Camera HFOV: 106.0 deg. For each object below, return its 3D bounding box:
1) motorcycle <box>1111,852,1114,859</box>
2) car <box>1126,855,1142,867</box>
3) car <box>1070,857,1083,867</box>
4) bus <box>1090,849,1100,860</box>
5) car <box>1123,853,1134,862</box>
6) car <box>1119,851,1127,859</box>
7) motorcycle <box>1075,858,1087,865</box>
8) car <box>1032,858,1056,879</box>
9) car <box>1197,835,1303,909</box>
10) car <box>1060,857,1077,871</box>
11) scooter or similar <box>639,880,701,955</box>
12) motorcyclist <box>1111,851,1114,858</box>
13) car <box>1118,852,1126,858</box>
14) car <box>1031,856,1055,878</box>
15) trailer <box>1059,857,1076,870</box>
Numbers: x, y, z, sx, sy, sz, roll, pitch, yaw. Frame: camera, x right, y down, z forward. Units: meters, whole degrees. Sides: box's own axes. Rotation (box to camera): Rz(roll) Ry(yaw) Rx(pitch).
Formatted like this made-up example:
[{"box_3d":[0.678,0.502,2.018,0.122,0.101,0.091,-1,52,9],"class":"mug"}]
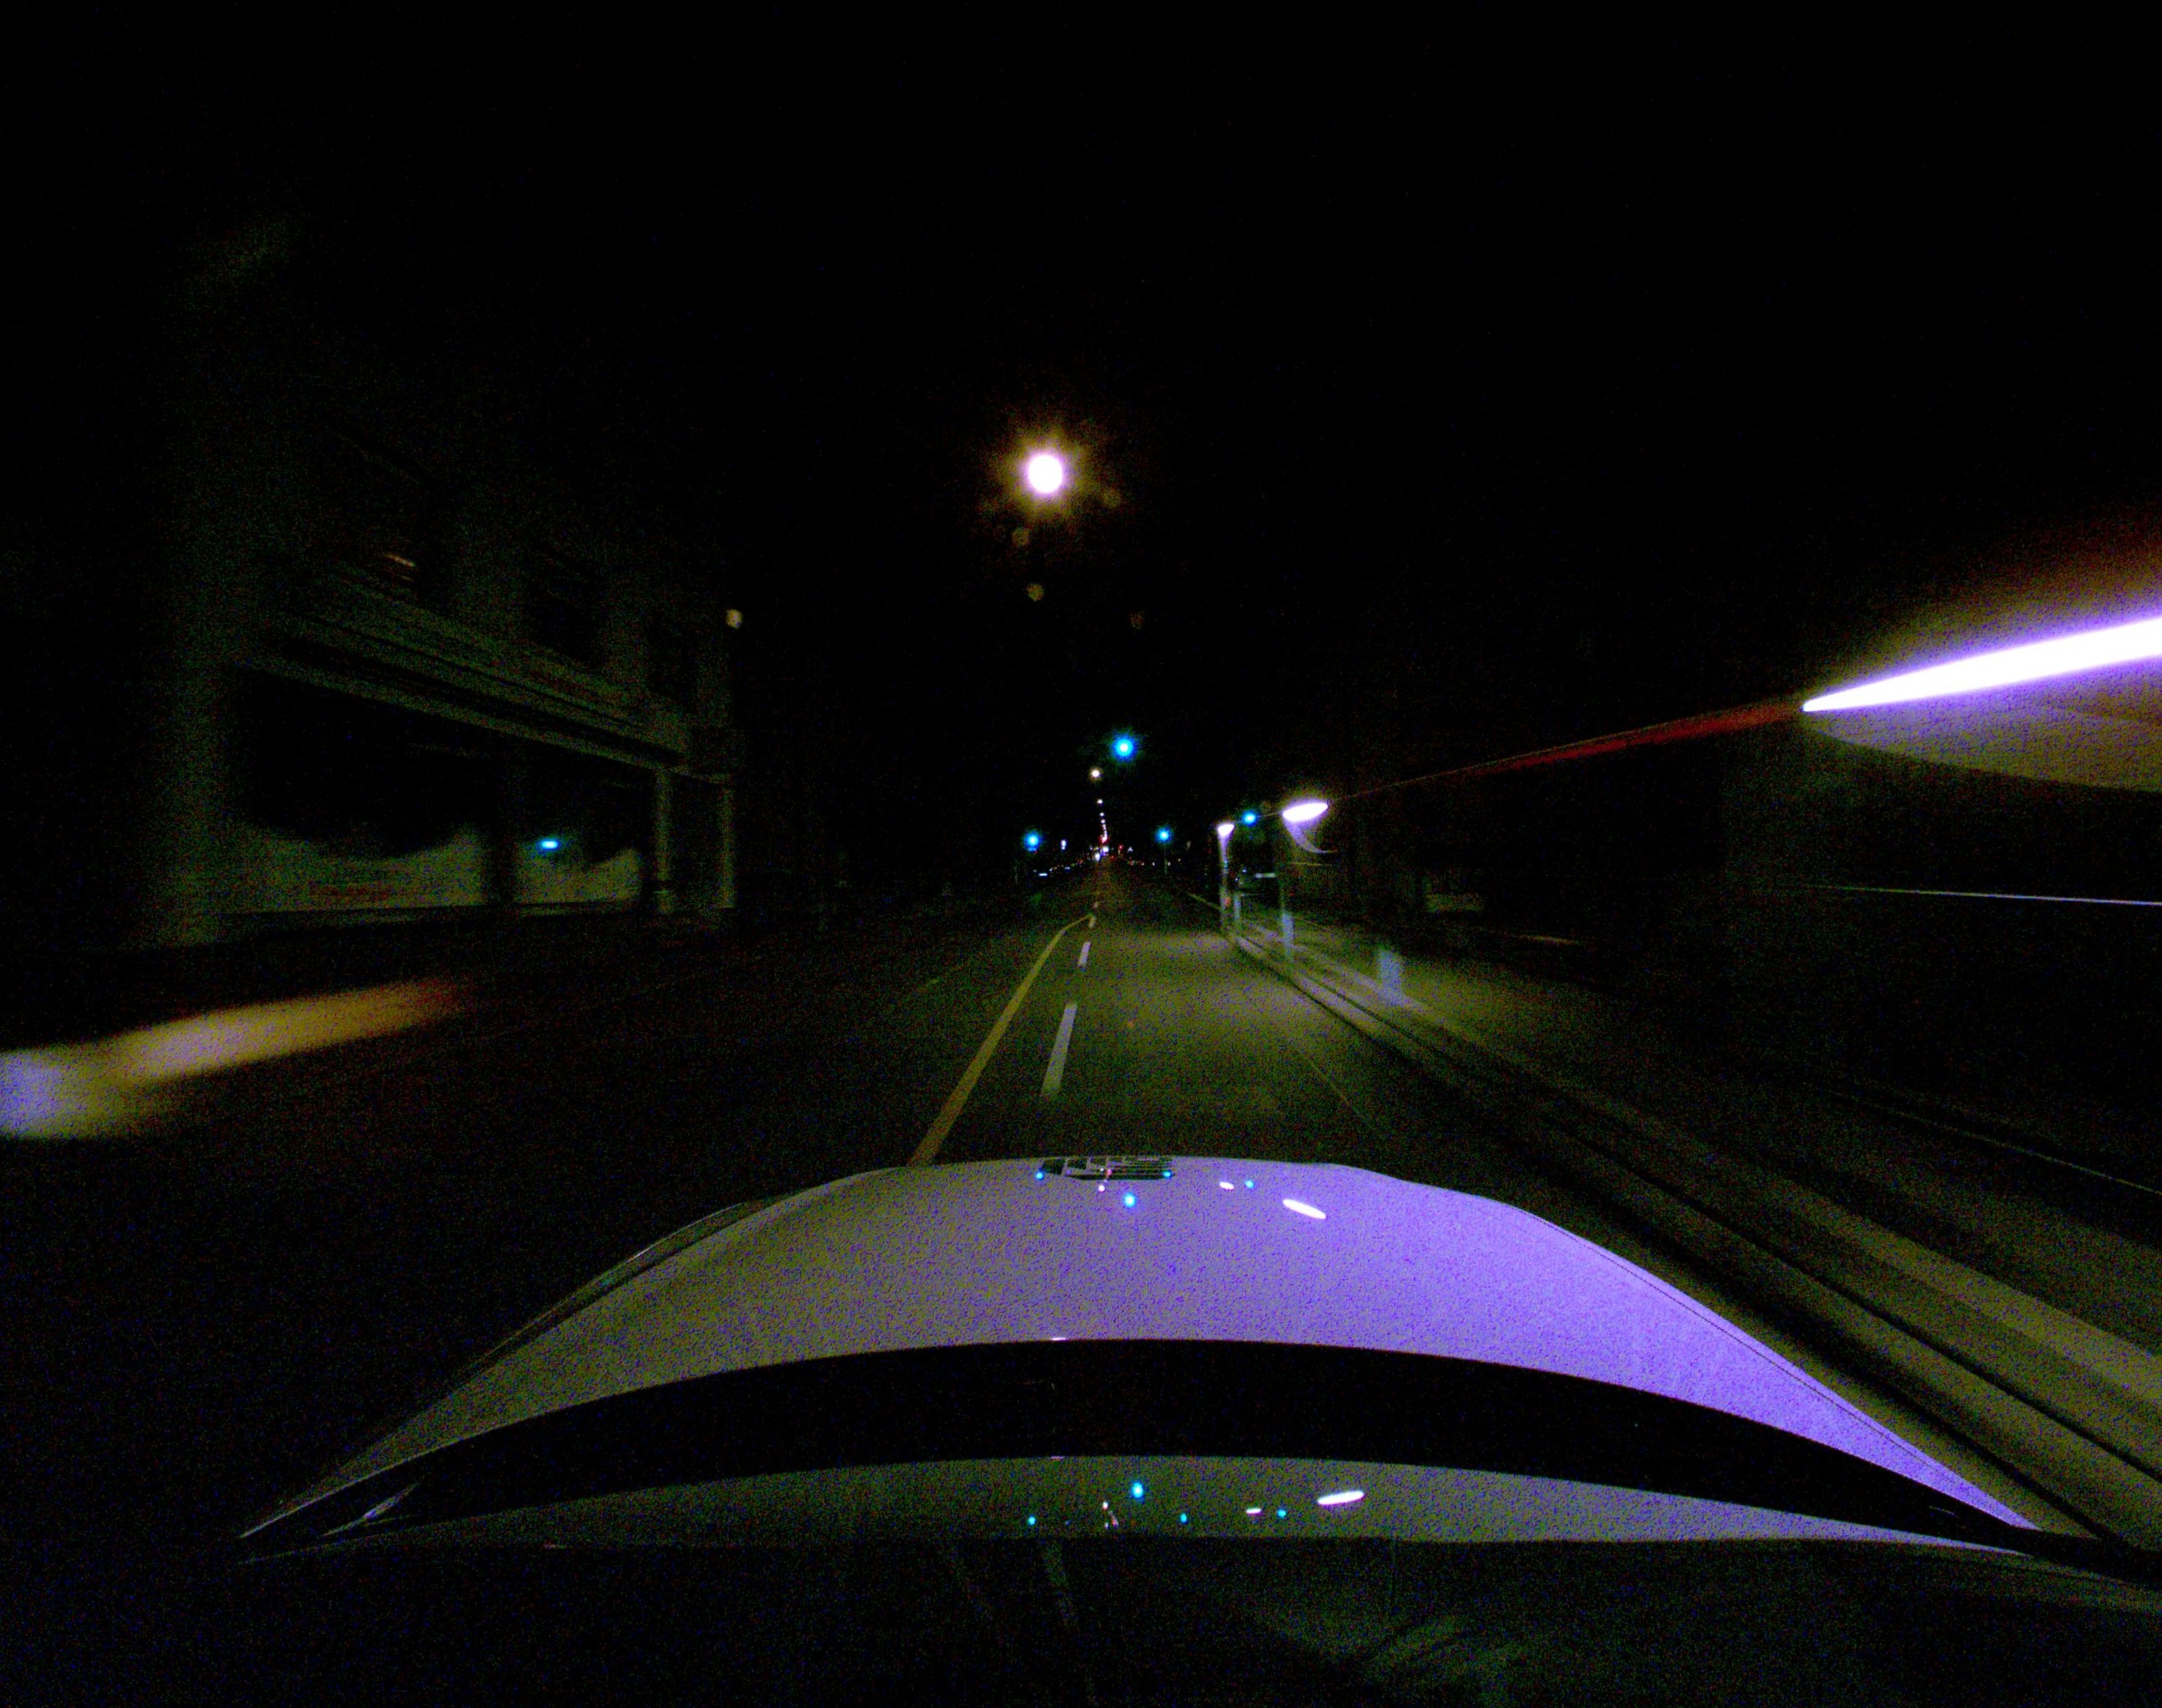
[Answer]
[{"box_3d":[7.863,0.411,203.677,0.927,1.752,2.626,-1,-1,2],"class":"motorcycle"},{"box_3d":[7.206,0.929,110.856,1.838,1.417,4.646,-5,-1,1],"class":"car"},{"box_3d":[-0.659,1.170,122.028,1.857,1.491,4.281,-1,-1,1],"class":"car"},{"box_3d":[4.387,0.197,246.380,2.827,3.177,10.503,-1,0,2],"class":"bus"},{"box_3d":[8.686,0.719,149.292,1.756,1.476,4.082,-3,1,2],"class":"car"},{"box_3d":[10.231,0.250,198.100,1.805,1.594,4.275,-3,1,2],"class":"car"},{"box_3d":[0.037,1.212,138.473,0.720,1.147,2.183,-3,1,-41],"class":"motorcycle"},{"box_3d":[-2.702,1.058,59.951,1.643,1.514,3.699,-1,-1,-2],"class":"car"},{"box_3d":[4.657,0.460,23.150,1.905,1.827,4.899,-2,0,-1],"class":"car"},{"box_3d":[-1.490,1.183,97.592,1.808,1.484,4.347,-2,0,0],"class":"car"},{"box_3d":[-7.214,1.083,14.338,0.330,1.225,1.336,-1,-1,4],"class":"scooter or similar"},{"box_3d":[7.857,0.185,203.683,0.845,1.752,0.806,-1,-1,2],"class":"motorcyclist"},{"box_3d":[10.722,0.189,211.463,1.861,1.526,4.152,-3,1,2],"class":"car"},{"box_3d":[-3.046,1.005,65.595,1.843,1.650,4.668,-1,0,-2],"class":"car"},{"box_3d":[-1.672,1.168,102.237,1.629,1.640,3.445,-1,-1,6],"class":"trailer"}]
